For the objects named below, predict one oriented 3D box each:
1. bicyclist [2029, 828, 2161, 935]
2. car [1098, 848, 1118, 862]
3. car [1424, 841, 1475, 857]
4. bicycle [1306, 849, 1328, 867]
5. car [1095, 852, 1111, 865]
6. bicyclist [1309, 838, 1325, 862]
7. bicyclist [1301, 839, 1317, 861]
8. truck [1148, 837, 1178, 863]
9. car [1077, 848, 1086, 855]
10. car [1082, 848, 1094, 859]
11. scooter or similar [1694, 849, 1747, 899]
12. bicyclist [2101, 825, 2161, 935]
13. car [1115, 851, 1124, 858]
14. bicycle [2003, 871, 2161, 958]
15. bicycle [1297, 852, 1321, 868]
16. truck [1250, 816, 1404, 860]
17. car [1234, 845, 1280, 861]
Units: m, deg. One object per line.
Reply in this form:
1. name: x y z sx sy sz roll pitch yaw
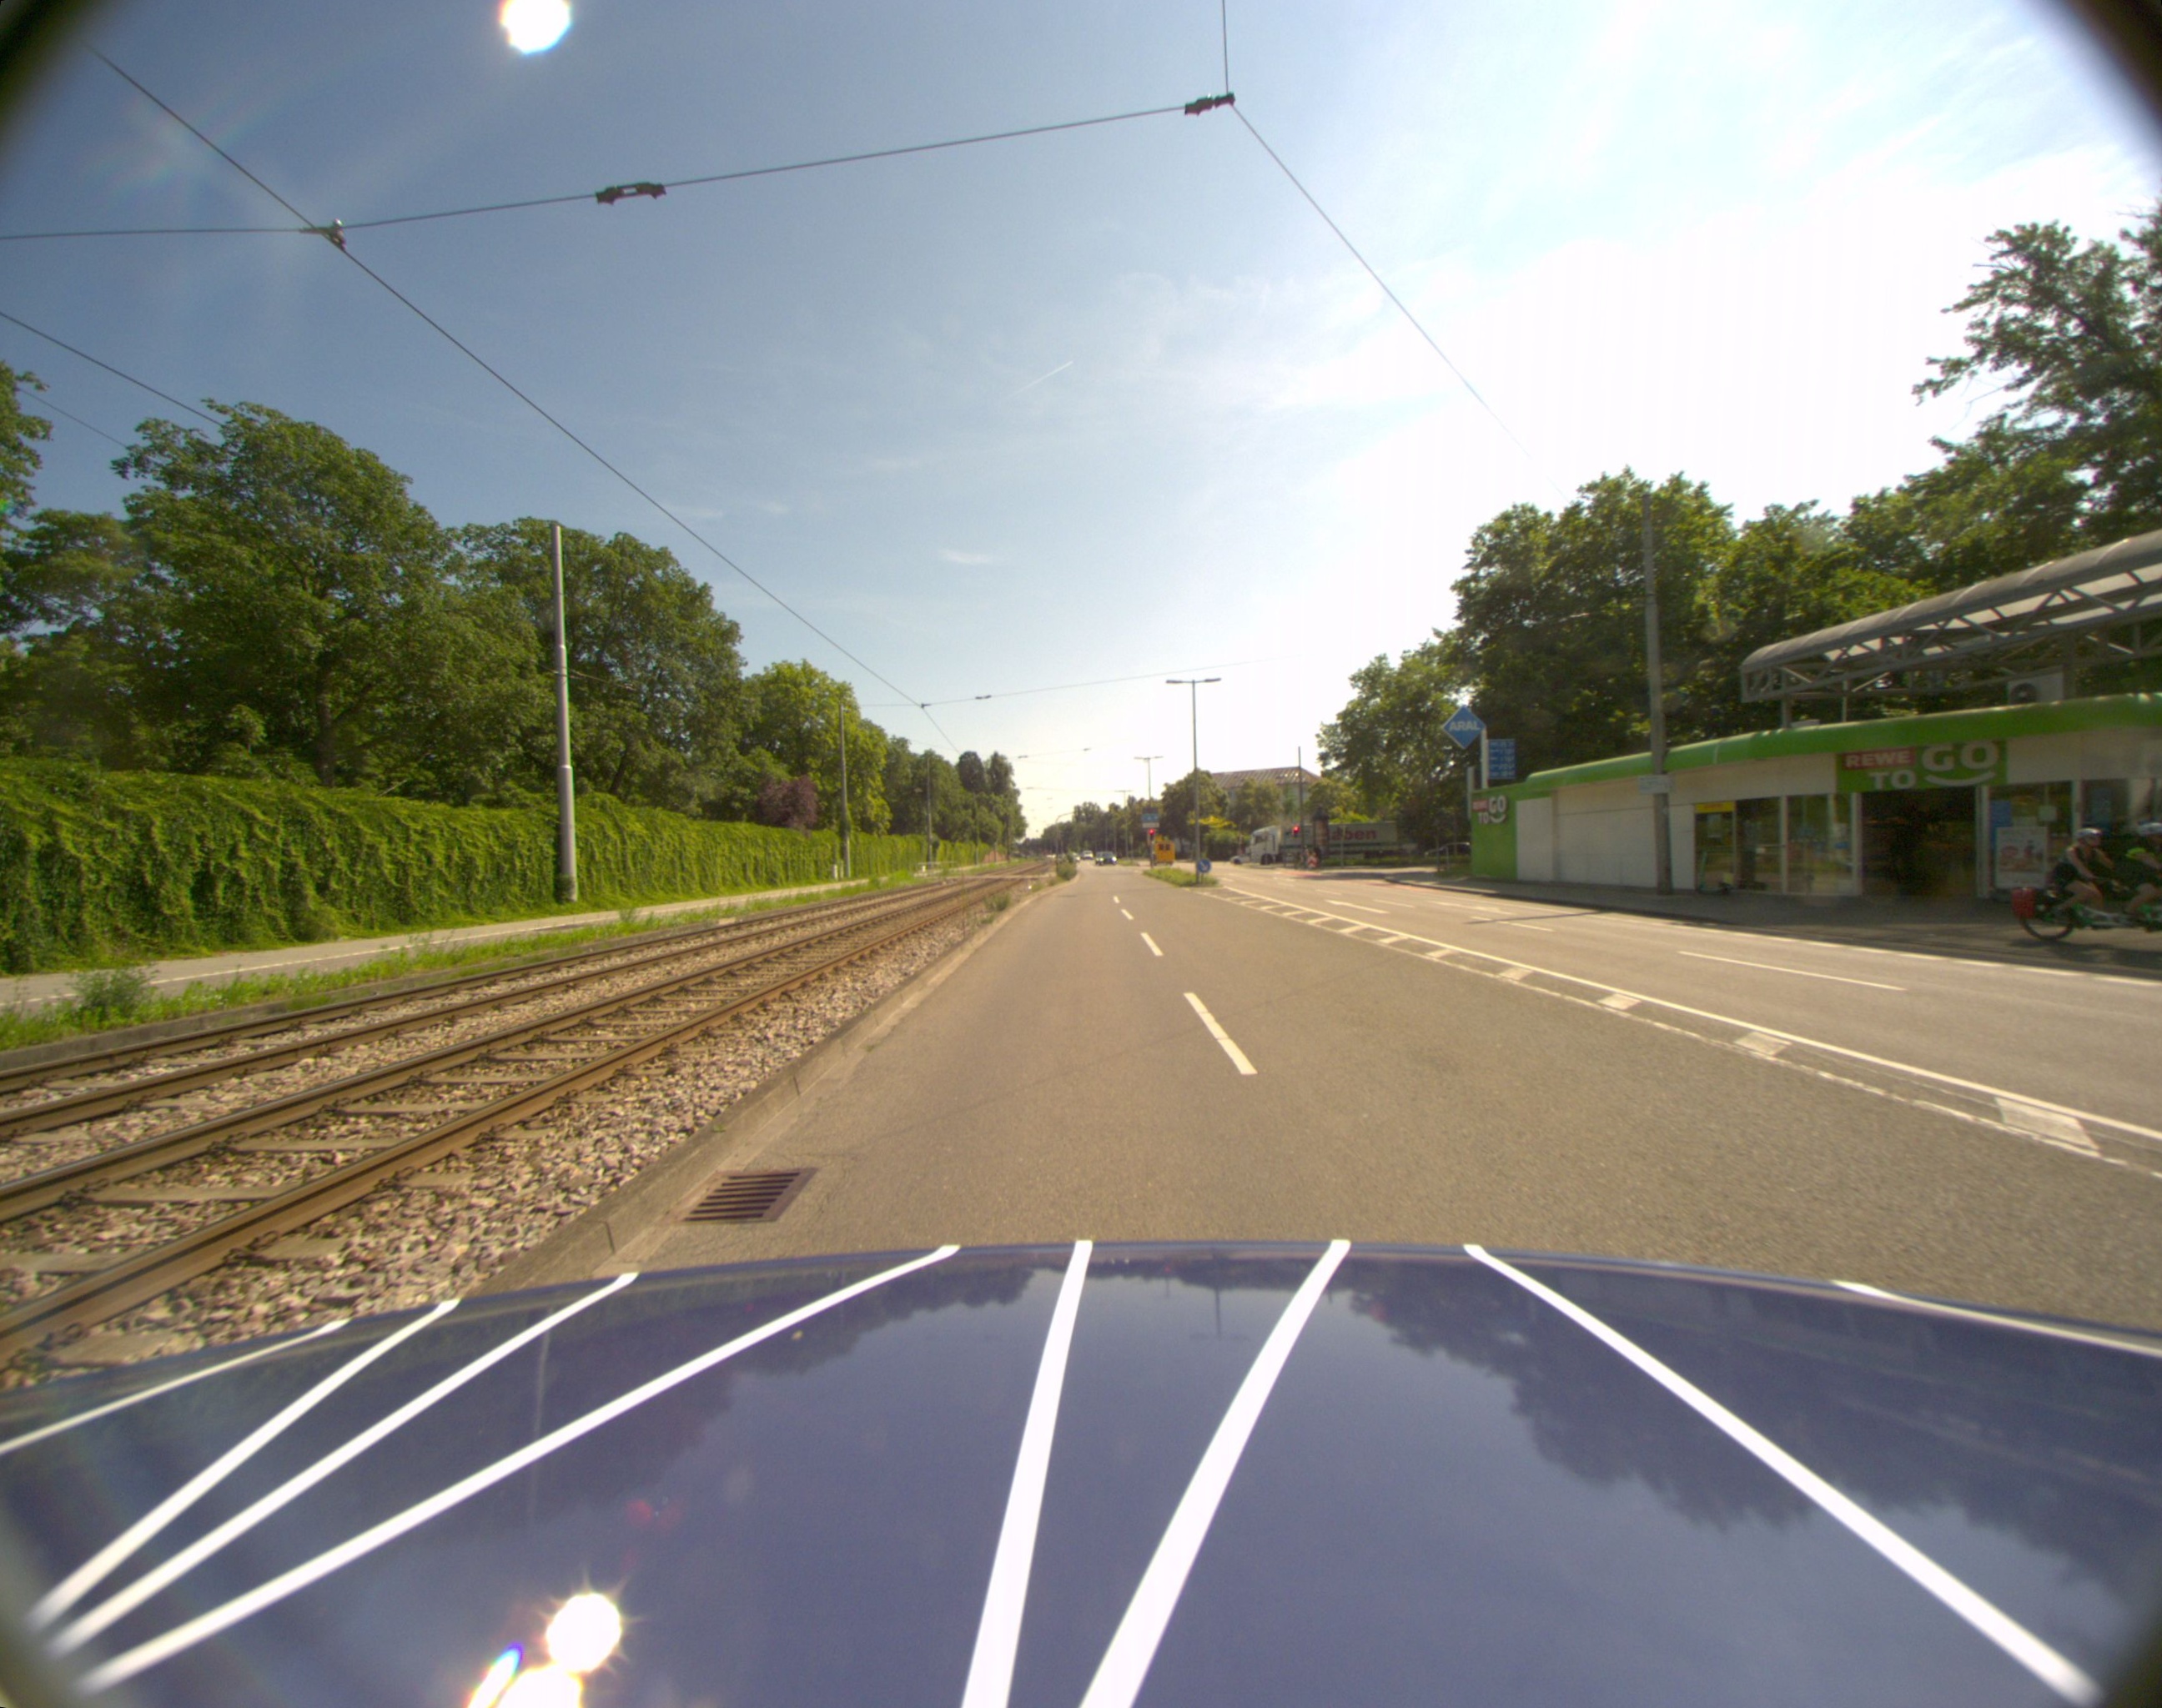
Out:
1. bicyclist: 14.429 0.381 10.780 0.849 1.427 0.832 -2 0 0
2. car: 3.142 0.083 89.651 1.756 1.573 4.503 -1 0 -5
3. car: 37.527 -0.497 77.421 4.365 1.360 1.758 -2 -1 9
4. bicycle: 16.644 0.271 53.667 0.939 1.168 2.211 -1 1 2
5. car: 2.865 0.615 99.407 1.755 1.573 4.504 -1 0 -2
6. bicyclist: 16.617 -0.265 53.508 0.837 1.664 0.827 -2 -1 0
7. bicyclist: 15.526 -0.265 51.706 0.710 1.412 0.739 -2 -1 -8
8. truck: 8.849 -0.427 82.859 2.336 2.652 7.358 -1 0 -1
9. car: 0.008 -0.531 187.028 1.931 1.593 4.466 -2 1 -3
10. car: 1.483 -0.165 165.762 2.265 2.336 5.229 -2 1 -2
11. scooter or similar: 16.580 0.496 19.737 0.442 1.230 1.346 -1 1 10
12. bicyclist: 14.418 0.324 10.002 0.849 1.427 0.832 -1 1 1
13. car: 8.976 0.043 177.325 1.755 1.573 4.504 0 0 -2
14. bicycle: 14.462 0.804 10.230 0.827 1.088 2.773 0 0 3
15. bicycle: 15.558 0.367 51.897 0.753 1.052 2.074 -2 0 -8
16. truck: 24.302 -1.518 75.666 14.286 3.984 2.856 -1 1 6
17. car: 18.804 -0.106 81.035 4.386 1.501 1.760 -3 -1 32
